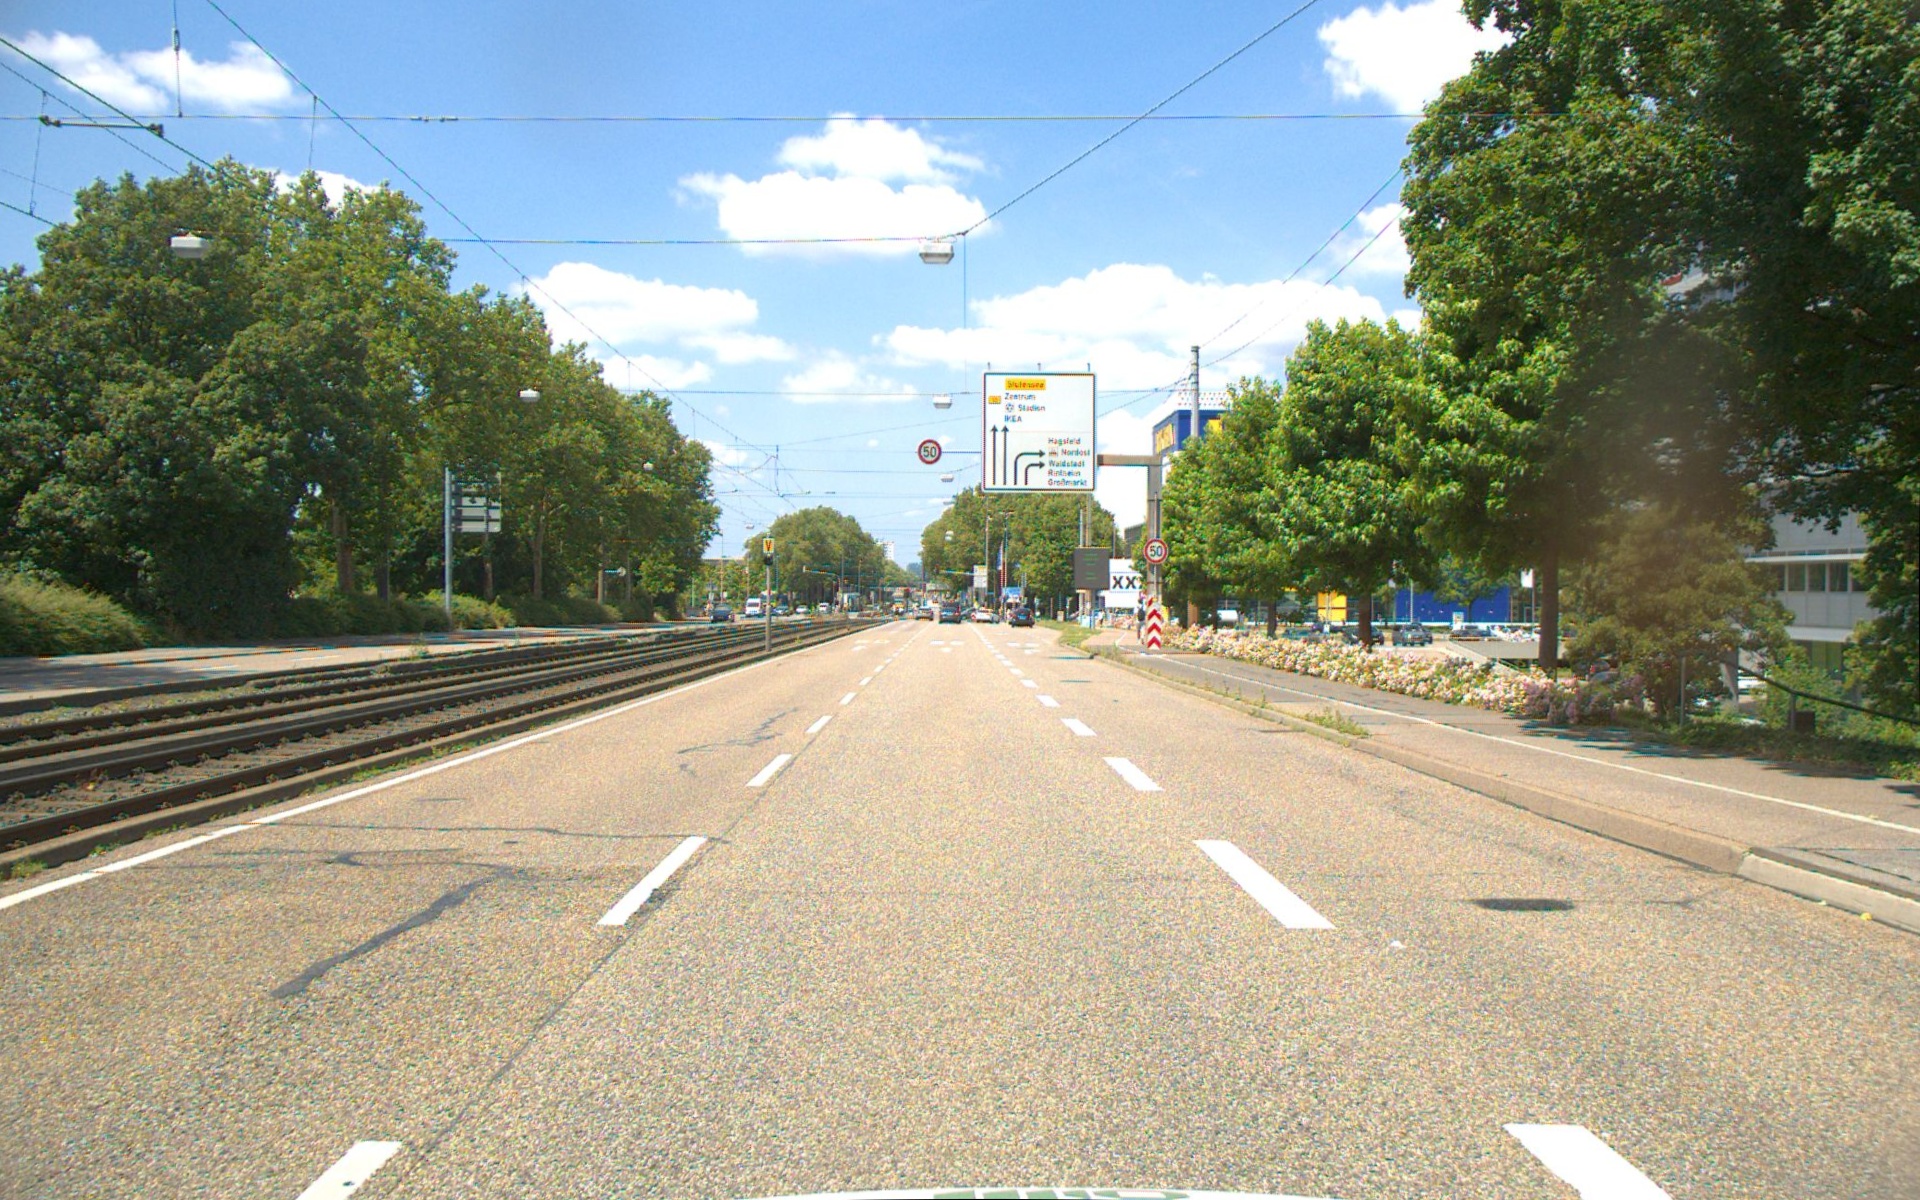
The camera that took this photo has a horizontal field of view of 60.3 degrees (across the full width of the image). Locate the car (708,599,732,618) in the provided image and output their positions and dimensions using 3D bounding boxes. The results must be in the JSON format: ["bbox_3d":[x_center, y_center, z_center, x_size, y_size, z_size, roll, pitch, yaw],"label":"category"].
[{"bbox_3d":[-20.811,0.728,143.350,1.611,1.577,4.214,2,0,-2],"label":"car"}]

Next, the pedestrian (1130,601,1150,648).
[{"bbox_3d":[7.143,0.961,65.678,0.655,1.823,0.925,2,-1,1],"label":"pedestrian"}]

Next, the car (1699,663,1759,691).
[{"bbox_3d":[47.546,4.728,102.386,1.705,1.508,4.239,2,0,0],"label":"car"}]

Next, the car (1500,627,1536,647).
[{"bbox_3d":[46.108,3.071,136.715,1.539,1.508,3.886,2,0,-2],"label":"car"}]

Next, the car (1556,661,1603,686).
[{"bbox_3d":[42.666,5.022,114.020,1.705,1.508,3.963,2,0,0],"label":"car"}]

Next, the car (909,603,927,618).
[{"bbox_3d":[-4.582,1.154,179.951,1.805,1.577,3.774,2,0,-3],"label":"car"}]

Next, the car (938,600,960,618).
[{"bbox_3d":[-0.986,0.795,146.908,1.838,1.566,3.775,2,0,-1],"label":"car"}]

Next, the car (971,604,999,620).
[{"bbox_3d":[2.708,1.294,178.391,1.651,1.577,3.983,2,0,21],"label":"car"}]

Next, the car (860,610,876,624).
[{"bbox_3d":[-10.941,2.031,197.008,1.805,1.577,3.775,2,0,-2],"label":"car"}]

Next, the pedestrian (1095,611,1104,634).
[{"bbox_3d":[11.364,1.806,134.758,0.568,1.823,0.589,2,-1,-3],"label":"pedestrian"}]

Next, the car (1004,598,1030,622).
[{"bbox_3d":[4.676,0.813,135.857,1.861,1.837,3.975,2,0,-1],"label":"car"}]

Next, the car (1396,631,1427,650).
[{"bbox_3d":[39.285,3.532,143.964,1.539,1.508,3.886,2,0,-2],"label":"car"}]

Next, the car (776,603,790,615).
[{"bbox_3d":[-24.959,1.282,233.464,1.590,1.577,3.703,2,0,-1],"label":"car"}]

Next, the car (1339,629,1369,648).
[{"bbox_3d":[35.017,3.422,146.953,1.539,1.508,3.886,2,0,-2],"label":"car"}]
